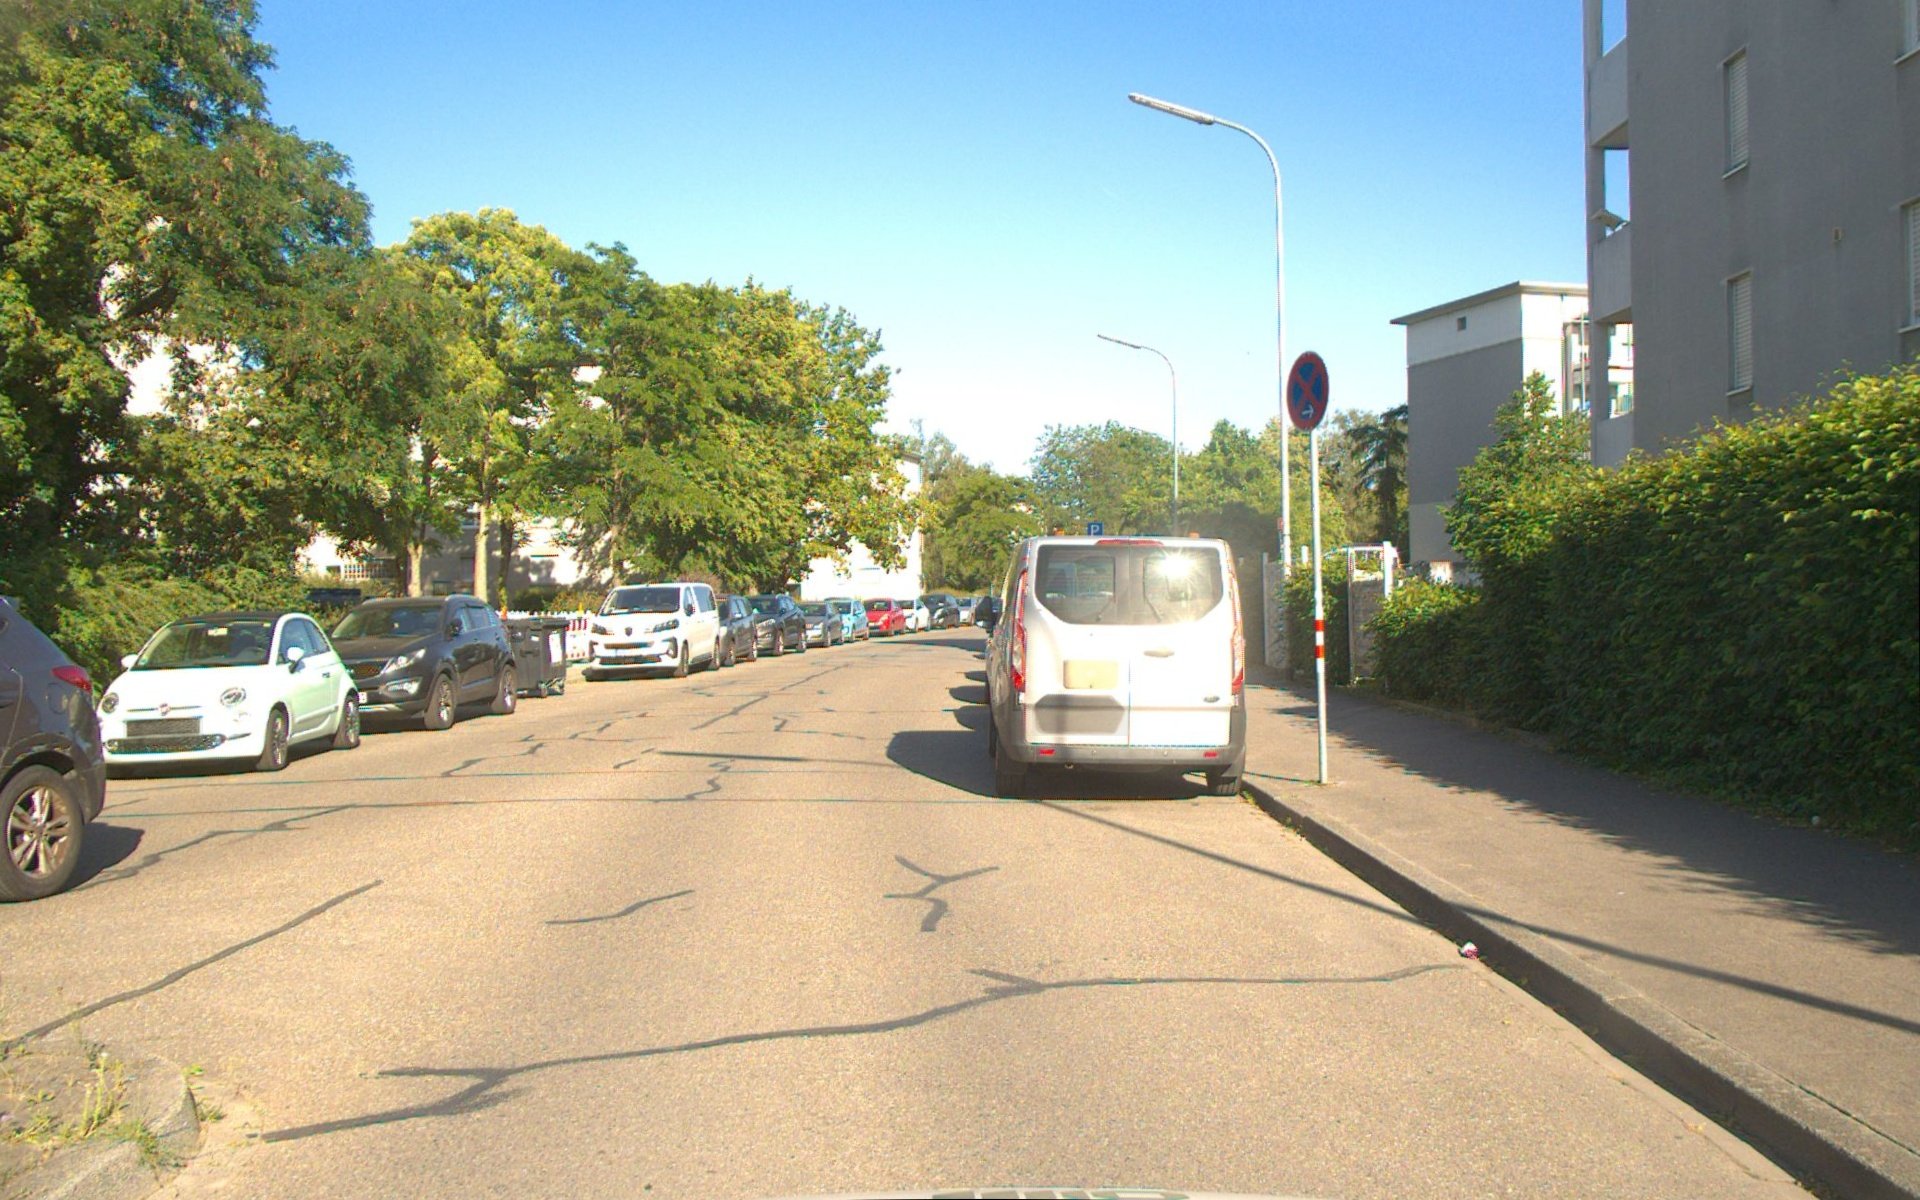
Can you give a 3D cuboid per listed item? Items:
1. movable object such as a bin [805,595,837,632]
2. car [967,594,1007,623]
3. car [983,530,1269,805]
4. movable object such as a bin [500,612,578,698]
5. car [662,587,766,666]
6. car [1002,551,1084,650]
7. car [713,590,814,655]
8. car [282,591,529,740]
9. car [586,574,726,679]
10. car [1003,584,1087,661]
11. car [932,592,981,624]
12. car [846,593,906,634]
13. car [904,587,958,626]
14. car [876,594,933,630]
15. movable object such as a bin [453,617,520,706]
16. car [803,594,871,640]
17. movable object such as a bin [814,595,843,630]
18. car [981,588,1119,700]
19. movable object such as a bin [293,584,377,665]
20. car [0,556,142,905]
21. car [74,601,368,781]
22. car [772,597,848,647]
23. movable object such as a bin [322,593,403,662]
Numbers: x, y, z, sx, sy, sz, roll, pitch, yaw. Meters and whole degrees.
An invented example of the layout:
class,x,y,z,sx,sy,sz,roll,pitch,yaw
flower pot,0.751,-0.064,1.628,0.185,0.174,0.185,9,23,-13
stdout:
class,x,y,z,sx,sy,sz,roll,pitch,yaw
movable object such as a bin,-5.878,0.554,70.123,1.087,1.524,1.410,-1,1,6
car,1.457,0.439,88.764,1.625,1.451,4.052,-3,0,8
car,1.225,0.486,14.373,1.953,1.946,4.953,-1,0,0
movable object such as a bin,-6.968,0.894,27.417,0.786,1.338,1.322,-1,1,8
car,-5.816,0.583,39.558,1.523,1.752,4.343,-1,0,4
car,2.353,0.008,45.321,2.060,2.529,5.859,1,0,4
car,-5.356,0.582,45.558,1.711,1.646,4.366,-1,0,7
car,-7.035,0.759,21.472,1.640,1.667,4.251,-2,0,1
car,-6.210,0.495,34.319,1.825,1.995,4.672,-1,0,2
car,1.984,0.511,39.669,1.870,1.695,4.376,-1,0,1
car,-0.149,0.377,83.429,1.625,1.512,4.056,-3,0,12
car,-3.273,0.502,64.986,1.635,1.500,3.681,-2,0,8
car,-1.329,0.298,77.225,1.634,1.696,4.410,-2,0,10
car,-2.339,0.494,70.668,1.634,1.446,3.904,-2,0,10
movable object such as a bin,-7.490,0.956,26.204,0.596,1.363,1.270,-1,0,5
car,-4.295,0.565,58.203,1.635,1.500,3.681,-2,0,8
movable object such as a bin,-5.698,0.541,71.724,0.967,1.443,1.315,-1,1,6
car,1.292,0.603,24.908,1.870,1.514,4.376,-1,0,1
movable object such as a bin,-12.583,0.492,33.325,1.233,1.578,1.279,-1,0,-4
car,-5.850,0.689,7.374,1.872,1.735,4.189,-2,0,8
car,-7.234,0.813,16.549,1.594,1.554,3.416,-1,0,-5
car,-4.767,0.678,53.065,1.635,1.462,4.003,-2,0,6
movable object such as a bin,-12.698,0.570,35.191,1.249,1.426,1.262,-1,0,0
